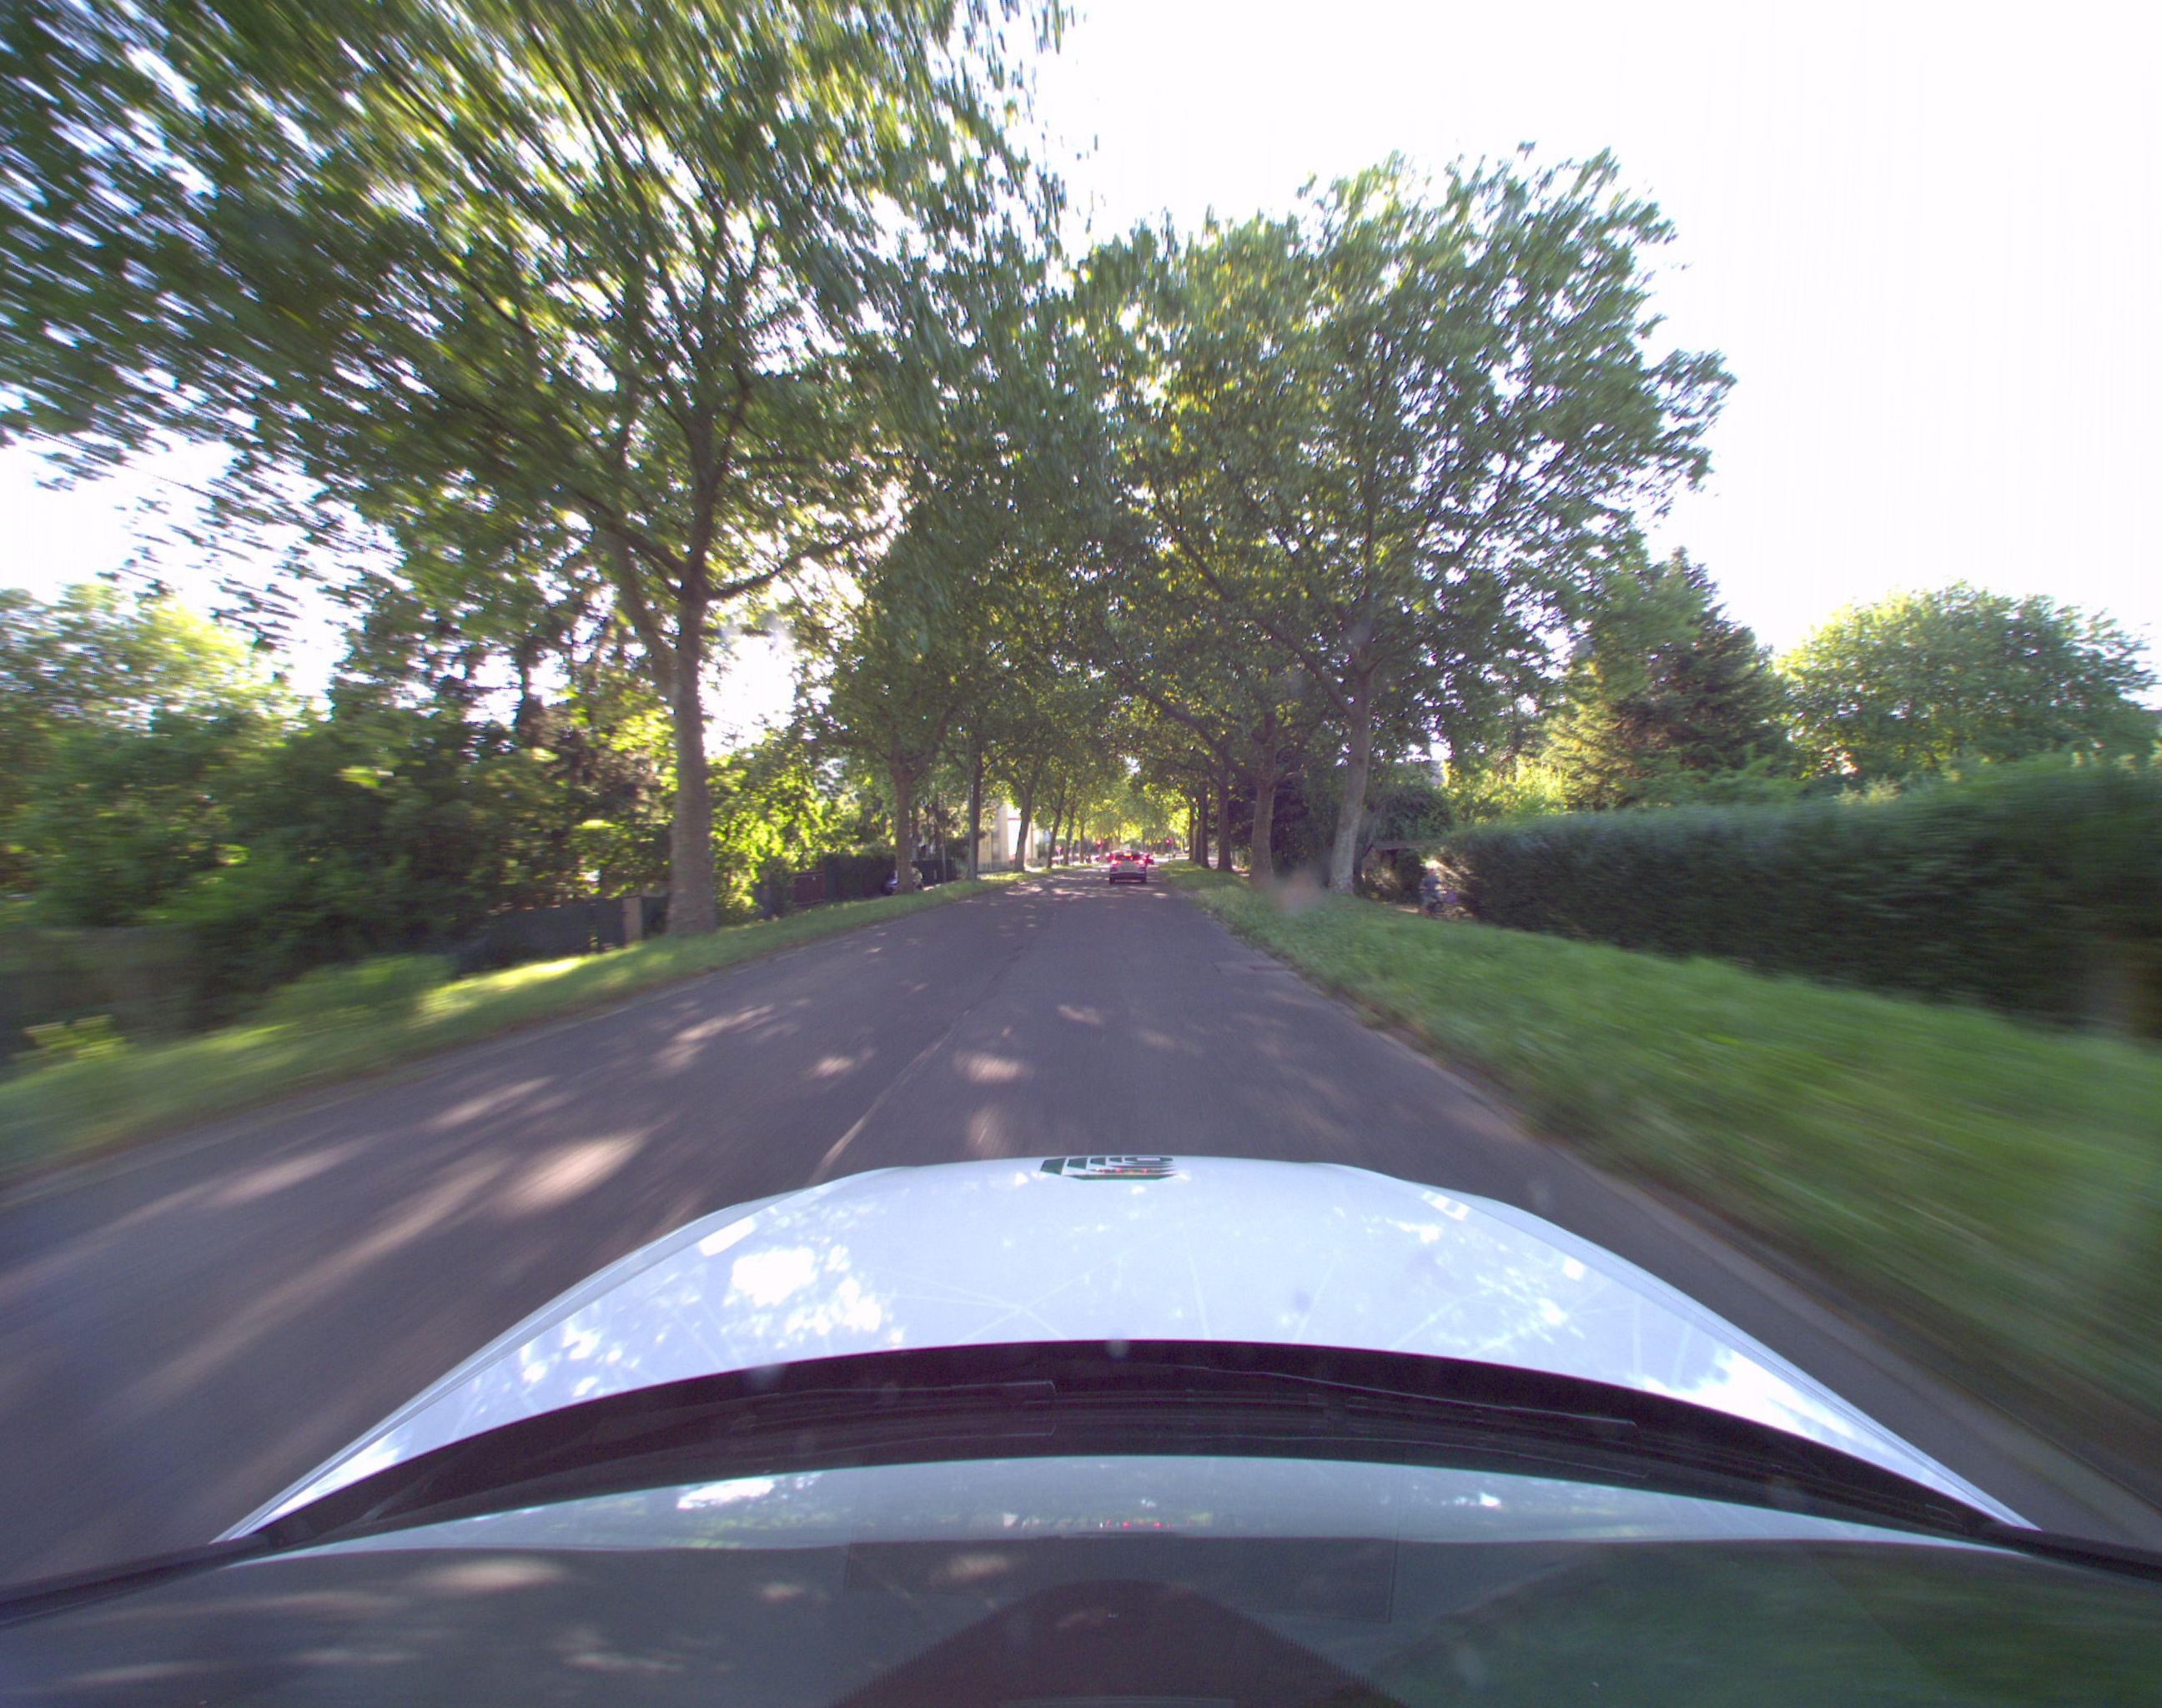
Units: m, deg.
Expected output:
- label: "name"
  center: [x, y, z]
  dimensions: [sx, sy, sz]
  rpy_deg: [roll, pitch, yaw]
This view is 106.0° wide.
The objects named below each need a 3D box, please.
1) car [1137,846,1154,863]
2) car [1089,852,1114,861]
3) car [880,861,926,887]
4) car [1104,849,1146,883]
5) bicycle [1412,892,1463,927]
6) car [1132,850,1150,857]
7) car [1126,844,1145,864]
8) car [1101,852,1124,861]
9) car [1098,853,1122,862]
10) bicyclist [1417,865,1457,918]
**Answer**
- label: "car"
  center: [7.785, 0.058, 98.144]
  dimensions: [1.985, 2.014, 4.003]
  rpy_deg: [-1, -1, 3]
- label: "car"
  center: [3.445, 0.450, 134.589]
  dimensions: [3.966, 1.478, 2.004]
  rpy_deg: [-1, -1, 6]
- label: "car"
  center: [-10.421, 1.156, 47.861]
  dimensions: [1.746, 1.304, 4.000]
  rpy_deg: [-2, 1, 0]
- label: "car"
  center: [2.204, 0.566, 40.606]
  dimensions: [1.985, 1.574, 4.004]
  rpy_deg: [-1, 0, 4]
- label: "bicycle"
  center: [9.436, 1.444, 21.612]
  dimensions: [0.550, 0.817, 1.889]
  rpy_deg: [-1, 0, 1]
- label: "car"
  center: [13.726, -0.049, 185.949]
  dimensions: [3.966, 1.478, 2.004]
  rpy_deg: [-1, -1, 6]
- label: "car"
  center: [5.800, -0.009, 86.660]
  dimensions: [1.984, 2.014, 4.005]
  rpy_deg: [-1, -1, 5]
- label: "car"
  center: [5.622, 0.401, 144.734]
  dimensions: [3.963, 1.478, 2.005]
  rpy_deg: [-1, -1, 9]
- label: "car"
  center: [5.109, 0.583, 141.767]
  dimensions: [3.966, 1.478, 2.004]
  rpy_deg: [-1, -1, 6]
- label: "bicyclist"
  center: [9.429, 0.994, 21.604]
  dimensions: [0.731, 1.366, 0.771]
  rpy_deg: [0, -1, 0]
